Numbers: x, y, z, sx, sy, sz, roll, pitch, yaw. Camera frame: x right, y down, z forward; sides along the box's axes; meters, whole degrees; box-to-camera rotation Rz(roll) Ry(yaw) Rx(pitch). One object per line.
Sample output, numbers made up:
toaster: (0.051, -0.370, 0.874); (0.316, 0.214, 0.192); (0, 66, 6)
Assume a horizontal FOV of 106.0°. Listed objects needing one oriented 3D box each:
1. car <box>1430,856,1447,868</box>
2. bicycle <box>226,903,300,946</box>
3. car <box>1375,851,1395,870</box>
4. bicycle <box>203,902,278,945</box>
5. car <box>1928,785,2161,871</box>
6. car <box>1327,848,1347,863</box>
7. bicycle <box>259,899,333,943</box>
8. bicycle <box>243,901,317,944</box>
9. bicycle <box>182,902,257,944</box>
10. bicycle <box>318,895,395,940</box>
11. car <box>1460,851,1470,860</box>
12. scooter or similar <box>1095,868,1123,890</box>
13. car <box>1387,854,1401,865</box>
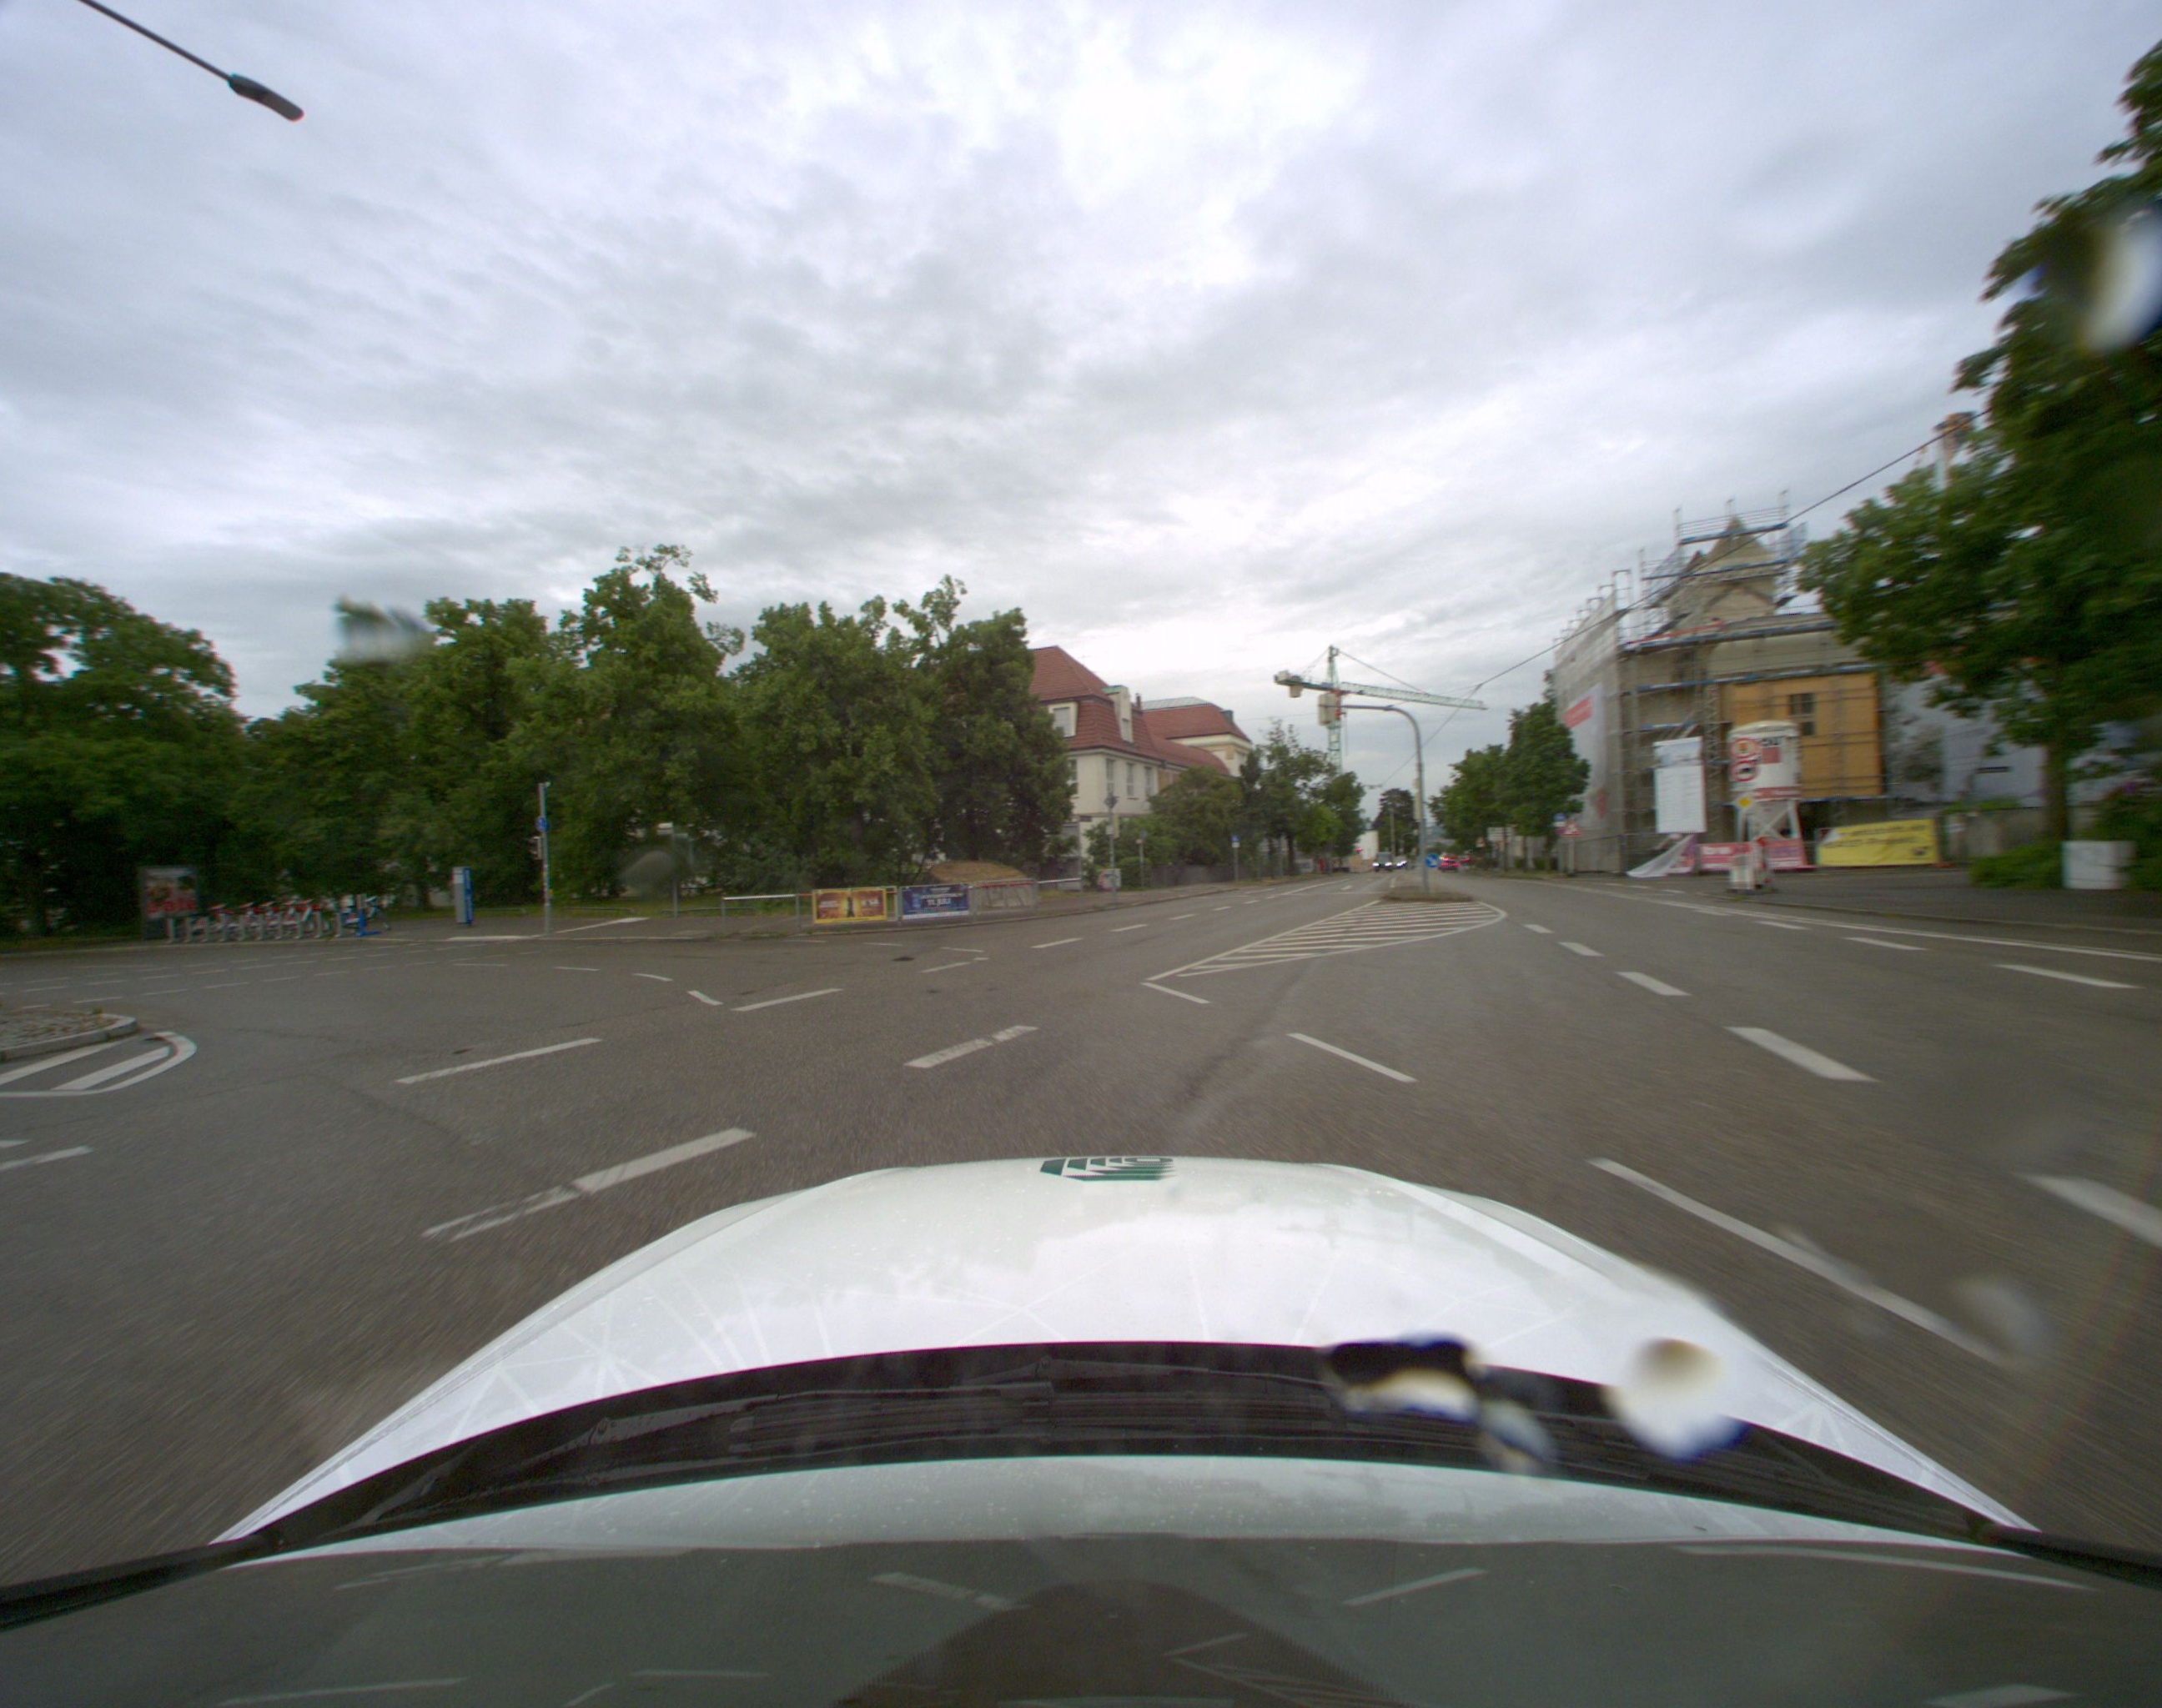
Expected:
car: (47.151, 1.084, 107.439); (1.759, 1.439, 3.895); (-2, 0, 28)
bicycle: (-26.148, 2.250, 26.052); (0.551, 1.131, 1.497); (-4, 3, 15)
car: (38.636, 0.802, 103.606); (1.817, 2.211, 4.024); (-2, 0, 28)
bicycle: (-27.196, 2.239, 26.384); (0.551, 1.131, 1.497); (-4, 3, 15)
car: (25.651, -0.631, 21.569); (2.003, 2.013, 3.967); (-3, 0, -25)
car: (36.607, 0.165, 116.552); (1.975, 2.013, 4.024); (-2, 0, 28)
bicycle: (-24.619, 2.091, 25.571); (0.551, 1.131, 1.497); (-4, 3, 15)
bicycle: (-25.380, 2.148, 25.821); (0.551, 1.131, 1.497); (-4, 3, 15)
bicycle: (-28.133, 2.243, 26.626); (0.551, 1.131, 1.497); (-4, 3, 15)
bicycle: (-22.079, 1.924, 24.847); (0.551, 1.131, 1.608); (-4, 3, 15)
car: (92.911, 0.418, 197.054); (1.975, 2.013, 4.023); (-2, 0, 25)
scooter or similar: (1.202, 1.072, 35.175); (1.092, 0.954, 0.534); (0, -2, -29)
car: (45.758, 0.773, 118.994); (1.561, 1.461, 3.559); (-2, 0, 28)
